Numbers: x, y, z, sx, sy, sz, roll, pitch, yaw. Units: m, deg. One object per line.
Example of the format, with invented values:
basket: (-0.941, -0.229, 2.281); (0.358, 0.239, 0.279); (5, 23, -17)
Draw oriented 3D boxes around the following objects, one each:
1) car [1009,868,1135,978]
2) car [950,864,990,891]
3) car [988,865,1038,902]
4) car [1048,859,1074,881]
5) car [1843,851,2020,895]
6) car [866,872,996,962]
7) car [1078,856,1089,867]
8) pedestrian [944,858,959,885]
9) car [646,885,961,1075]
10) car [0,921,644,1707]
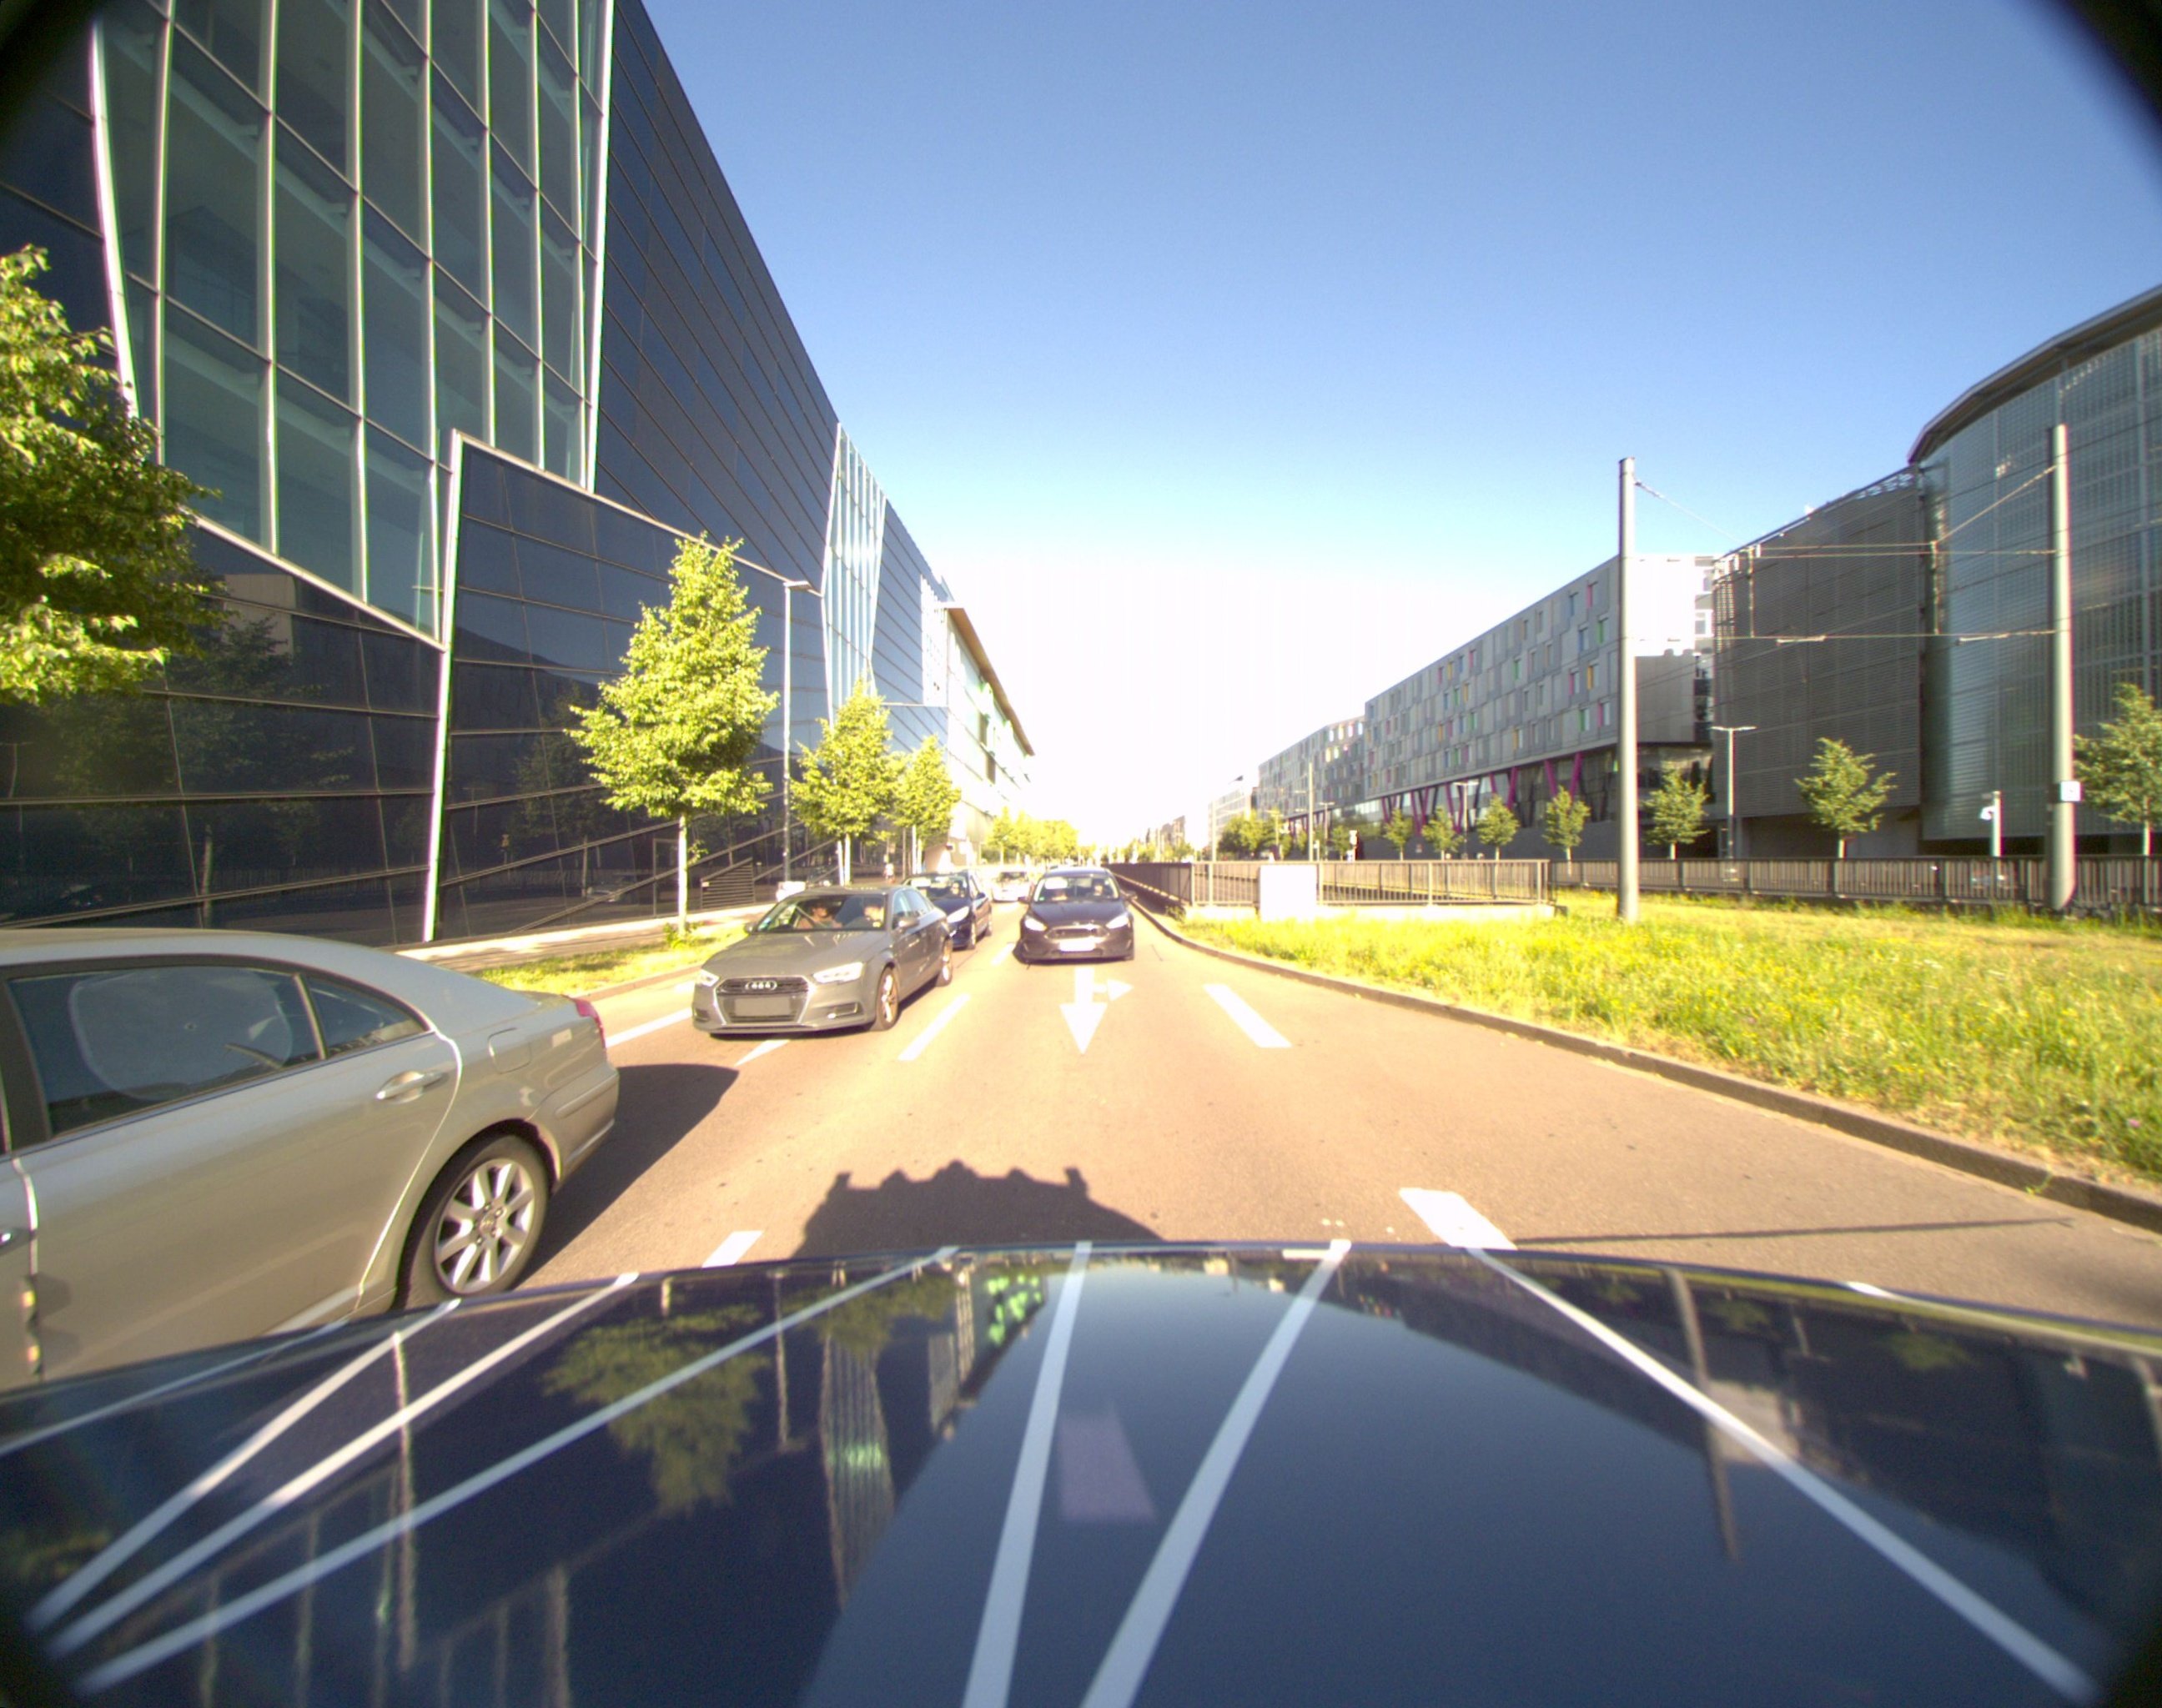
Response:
car: (-0.113, 1.045, 13.339); (1.787, 1.499, 4.590); (-2, 0, 0)
car: (-6.818, 1.409, 47.115); (1.740, 1.489, 4.716); (1, 0, 0)
car: (-2.891, 1.230, 32.903); (1.753, 1.469, 3.418); (-2, 0, 0)
car: (-1.595, 1.258, 60.665); (1.907, 1.612, 4.000); (0, 0, 1)
car: (31.852, 0.681, 28.674); (1.998, 1.492, 4.244); (-1, 0, 1)
car: (-2.850, 1.153, 15.305); (1.753, 1.469, 3.972); (-2, 0, 0)
car: (0.461, 1.380, 140.486); (1.998, 2.002, 4.000); (-2, 0, 1)
pedestrian: (-9.052, 1.224, 53.148); (0.828, 1.814, 0.905); (3, 0, 0)
car: (-2.674, 1.152, 8.512); (1.750, 1.384, 4.265); (-2, 0, 3)
car: (-3.067, 1.069, 1.363); (1.750, 1.473, 4.629); (-1, 0, 2)
